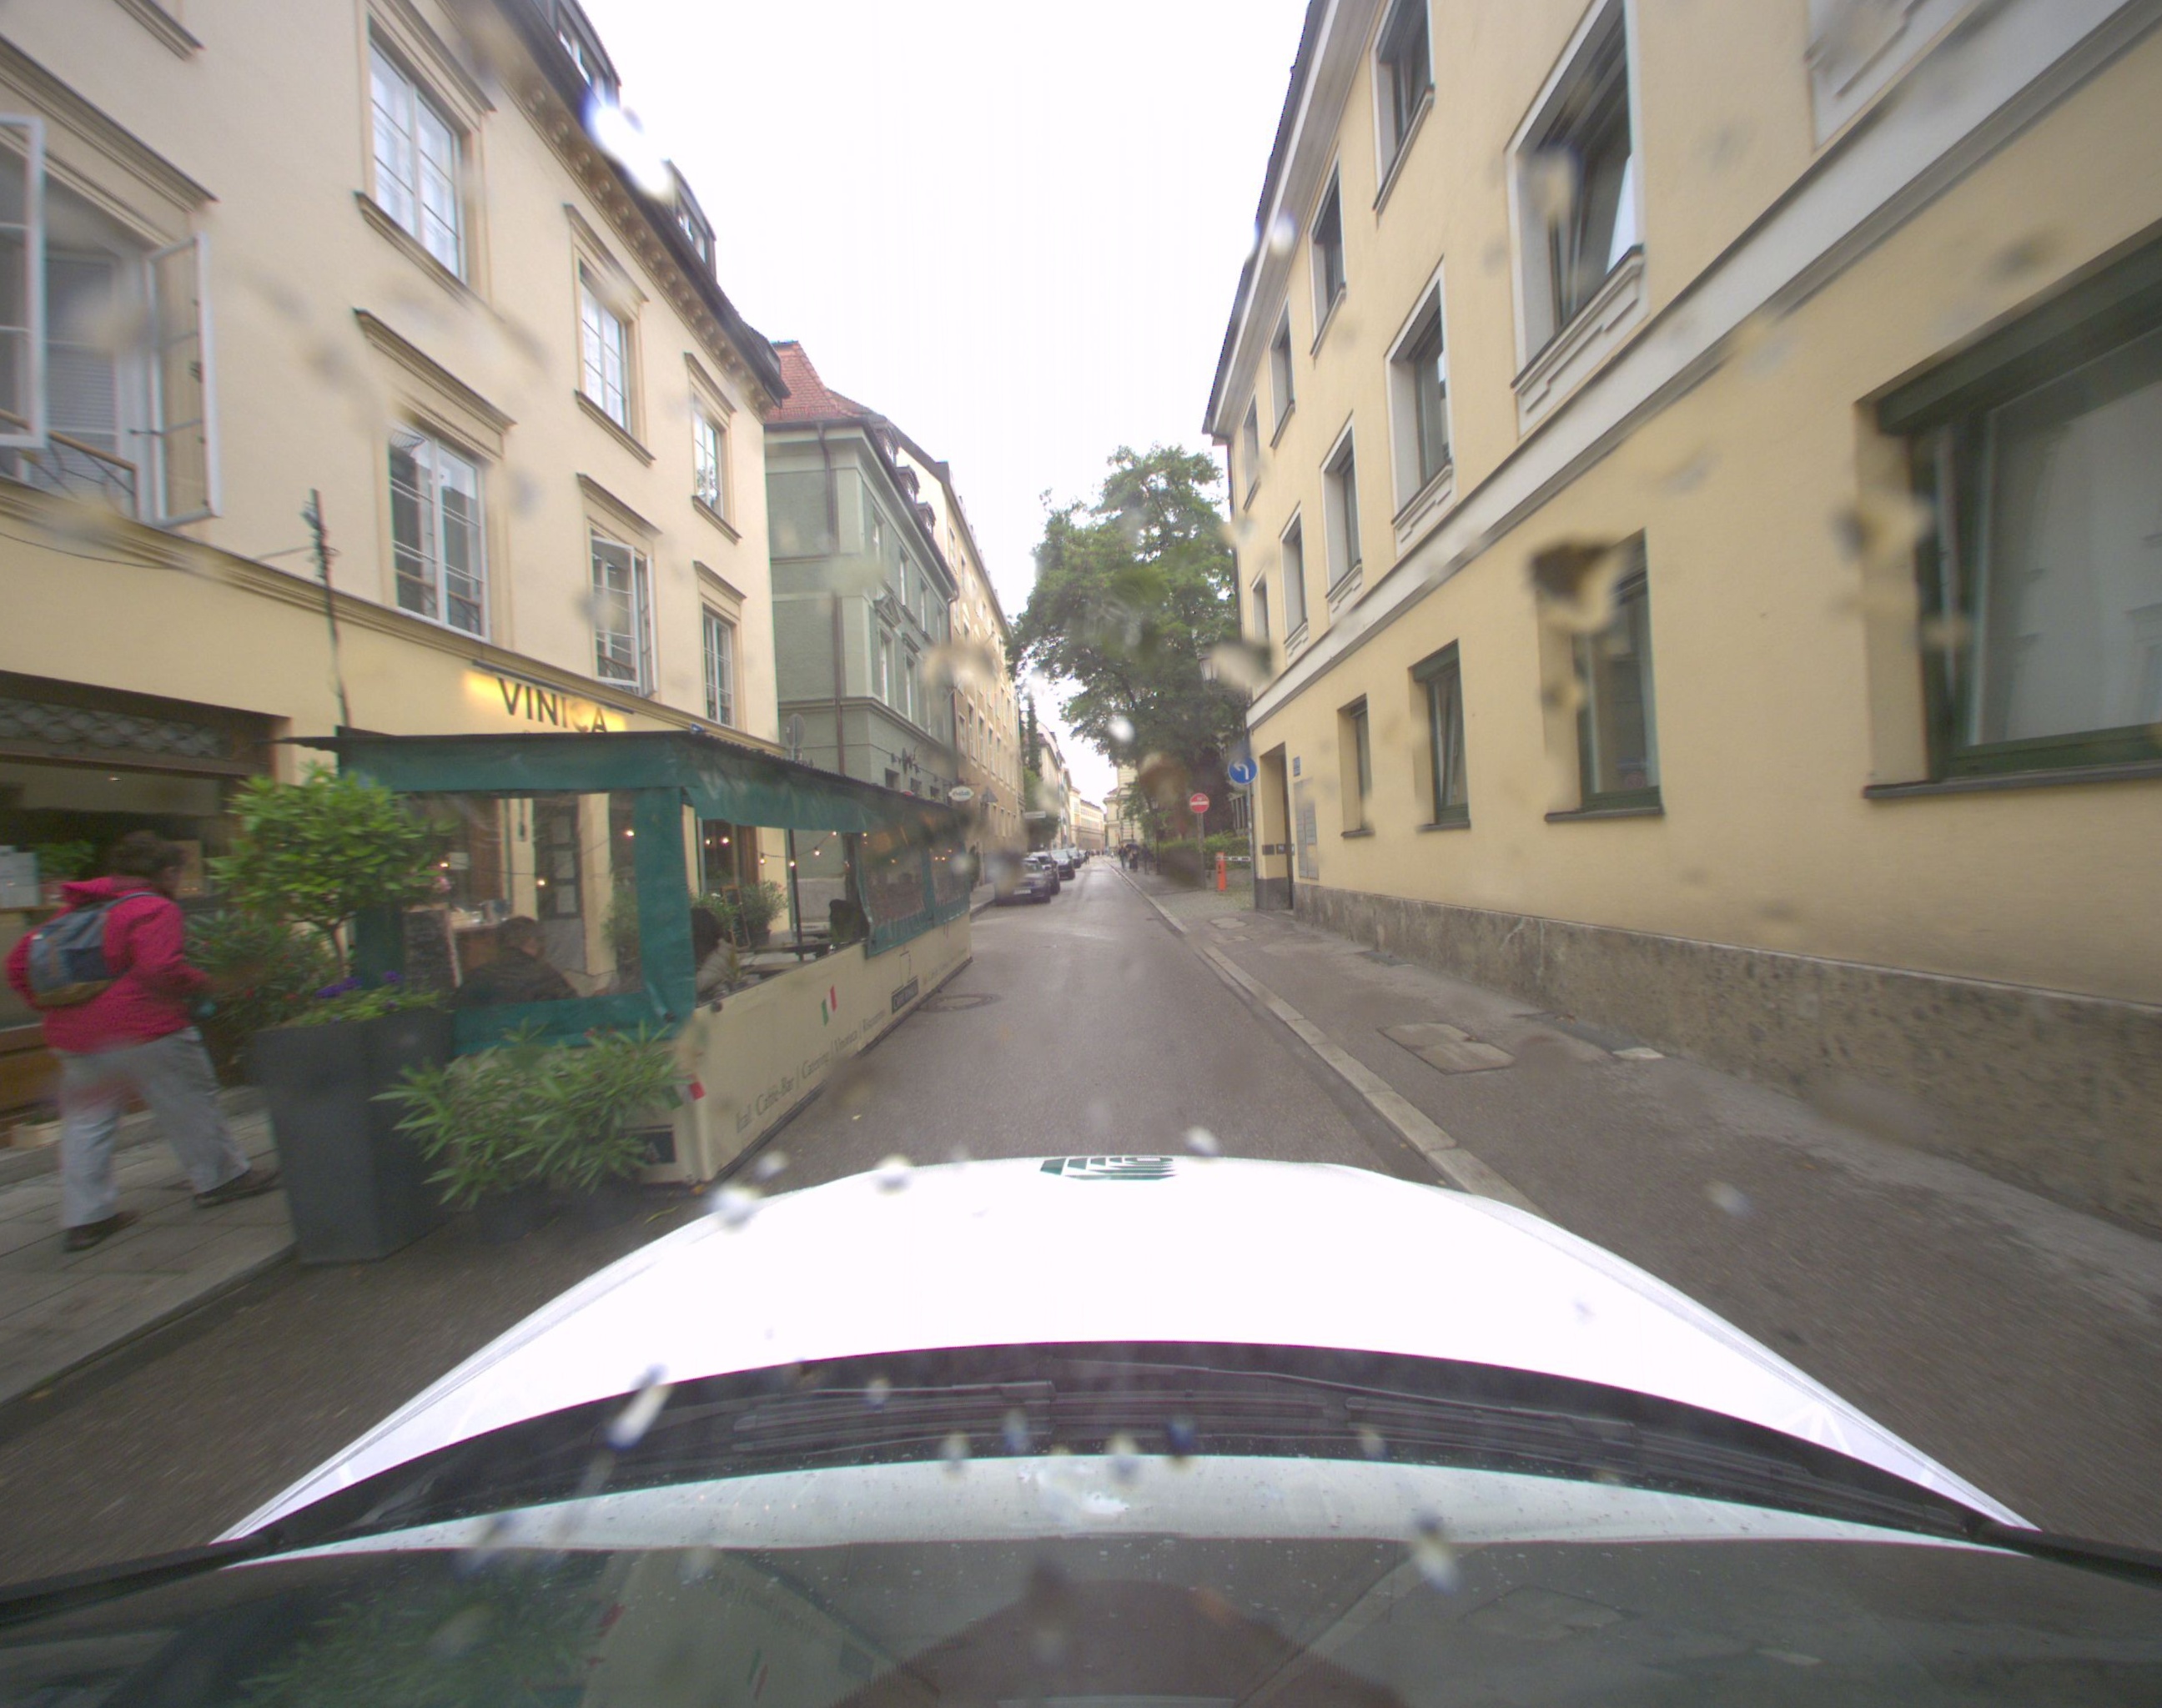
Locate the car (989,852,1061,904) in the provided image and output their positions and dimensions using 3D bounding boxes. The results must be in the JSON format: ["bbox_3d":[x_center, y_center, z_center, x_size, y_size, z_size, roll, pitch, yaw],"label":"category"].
[{"bbox_3d":[-1.712,0.712,26.006,1.771,1.466,3.667,-2,0,4],"label":"car"}]

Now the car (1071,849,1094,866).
[{"bbox_3d":[0.173,0.269,75.070,1.771,1.466,3.546,-2,0,4],"label":"car"}]

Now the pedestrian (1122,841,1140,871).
[{"bbox_3d":[3.059,0.132,50.304,1.012,1.802,1.350,-2,0,2],"label":"pedestrian"}]

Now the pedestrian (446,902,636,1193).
[{"bbox_3d":[-2.752,0.944,4.207,0.508,1.326,0.630,-2,0,-1],"label":"pedestrian"}]

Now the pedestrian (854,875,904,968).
[{"bbox_3d":[-2.848,0.934,11.523,0.508,1.237,0.630,-2,0,-1],"label":"pedestrian"}]

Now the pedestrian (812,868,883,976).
[{"bbox_3d":[-3.036,0.861,10.644,0.671,1.326,0.696,-2,0,-1],"label":"pedestrian"}]

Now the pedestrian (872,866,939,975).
[{"bbox_3d":[-2.254,0.832,10.552,0.671,1.326,0.696,-2,0,-1],"label":"pedestrian"}]

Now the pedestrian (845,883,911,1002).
[{"bbox_3d":[-2.146,0.919,8.673,0.508,1.175,0.630,-2,0,-1],"label":"pedestrian"}]

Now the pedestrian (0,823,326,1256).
[{"bbox_3d":[-4.199,0.749,3.667,0.763,1.708,0.785,-3,0,-1],"label":"pedestrian"}]

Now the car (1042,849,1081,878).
[{"bbox_3d":[-1.037,0.501,45.345,1.771,1.466,3.546,-2,0,4],"label":"car"}]

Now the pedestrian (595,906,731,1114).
[{"bbox_3d":[-2.657,0.960,5.228,0.508,1.187,0.630,-2,0,-1],"label":"pedestrian"}]

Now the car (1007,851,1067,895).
[{"bbox_3d":[-1.565,0.646,30.390,1.771,1.466,3.546,-2,0,4],"label":"car"}]

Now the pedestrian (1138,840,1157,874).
[{"bbox_3d":[3.567,0.169,43.848,0.877,1.802,1.047,-2,0,2],"label":"pedestrian"}]

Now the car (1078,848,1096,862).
[{"bbox_3d":[0.670,0.097,93.671,1.771,1.466,3.546,-2,0,4],"label":"car"}]

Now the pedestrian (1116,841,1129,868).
[{"bbox_3d":[2.762,0.044,54.564,0.790,1.802,0.903,-2,0,2],"label":"pedestrian"}]
